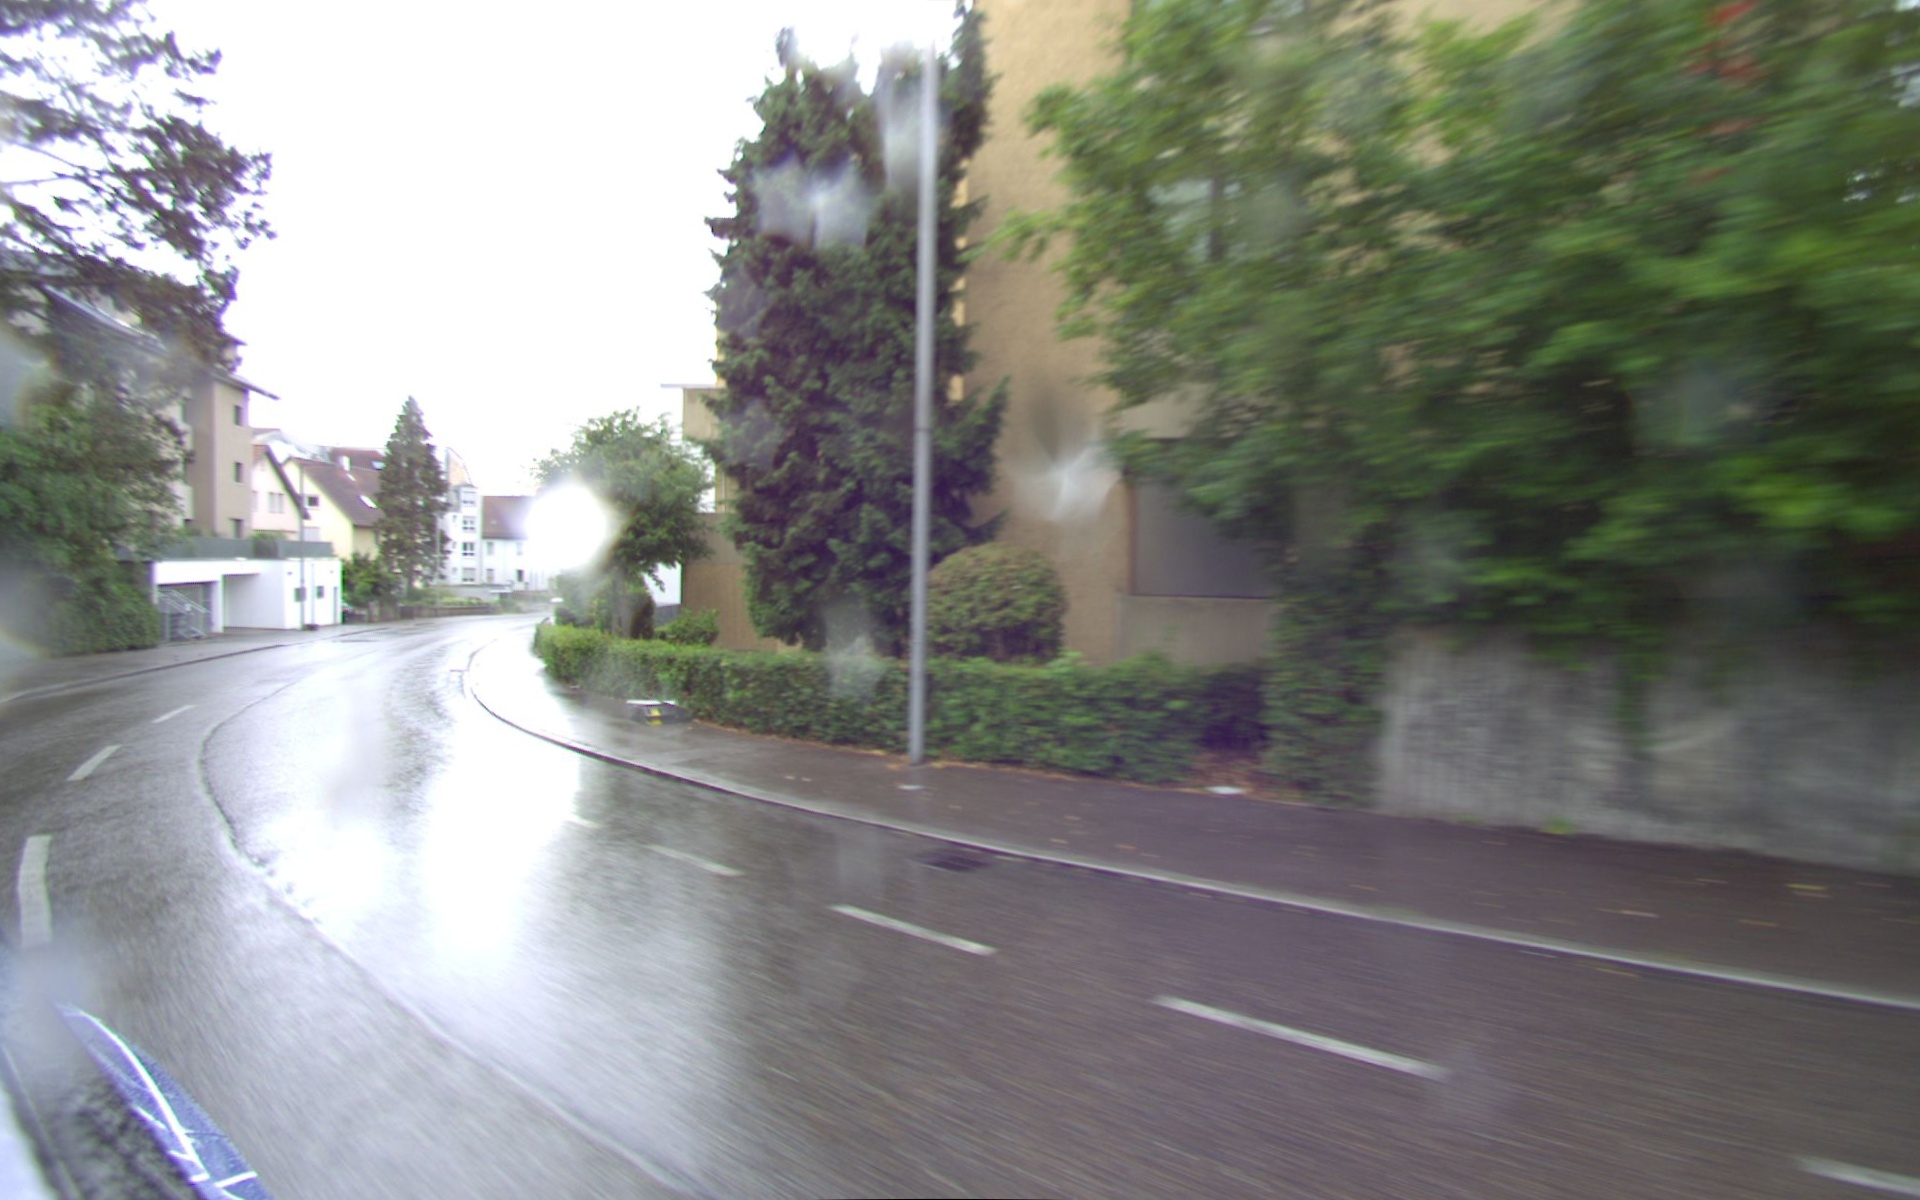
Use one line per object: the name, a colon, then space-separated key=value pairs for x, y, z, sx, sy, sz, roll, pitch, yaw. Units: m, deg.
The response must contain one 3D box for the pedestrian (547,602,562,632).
pedestrian: x=-28.240 y=1.162 z=70.495 sx=0.855 sy=2.068 sz=0.806 roll=-1 pitch=0 yaw=-27
